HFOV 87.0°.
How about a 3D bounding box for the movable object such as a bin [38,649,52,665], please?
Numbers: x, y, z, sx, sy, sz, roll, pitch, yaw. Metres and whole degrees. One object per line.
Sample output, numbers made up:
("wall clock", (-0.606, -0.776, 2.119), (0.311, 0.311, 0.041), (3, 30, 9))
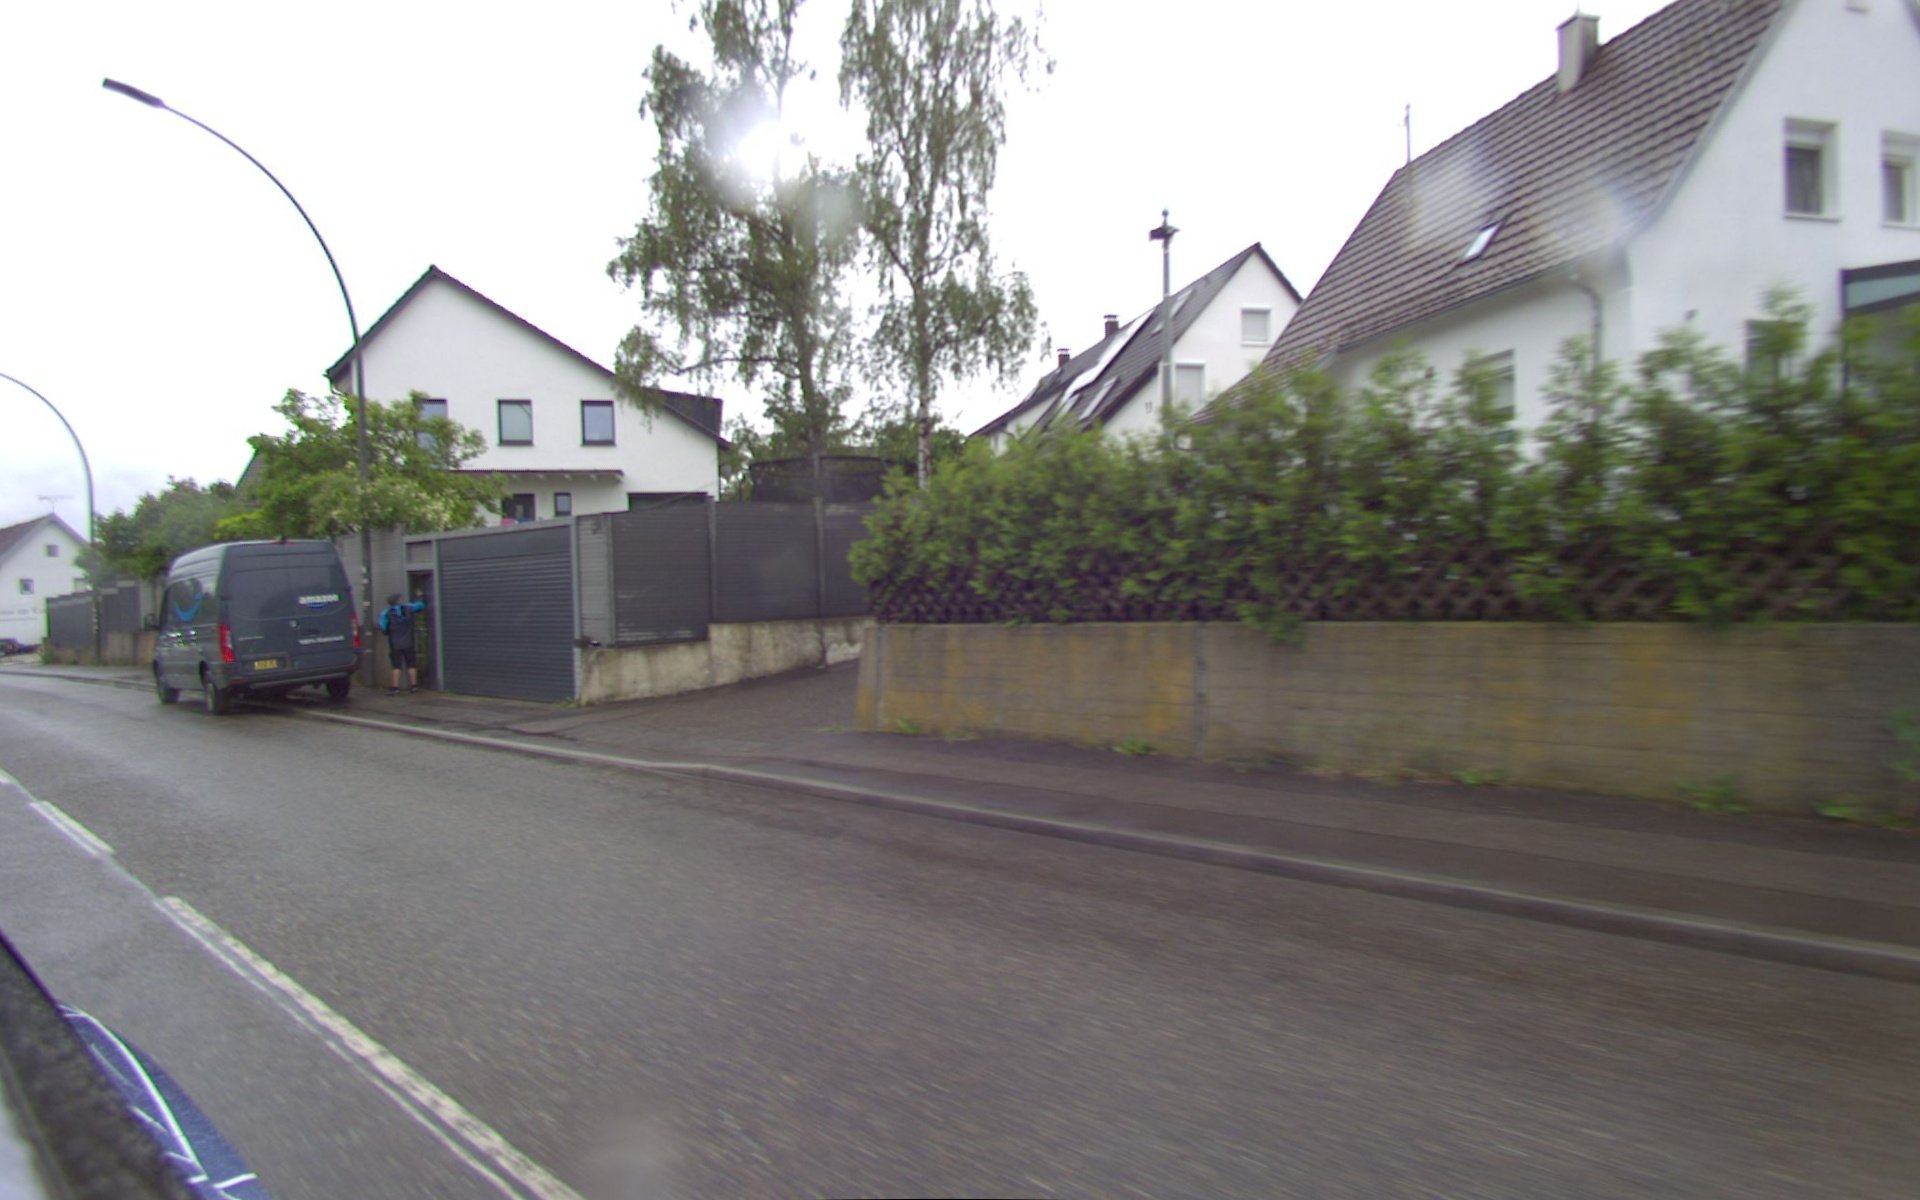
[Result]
("movable object such as a bin", (-61.534, 3.837, 68.042), (0.630, 1.040, 0.606), (0, -3, -38))

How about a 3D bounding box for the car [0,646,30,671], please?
("car", (-59.429, 3.657, 62.765), (1.876, 1.453, 3.838), (-4, -1, -33))

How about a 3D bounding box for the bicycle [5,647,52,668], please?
("bicycle", (-60.846, 3.745, 66.118), (2.070, 1.122, 0.739), (-6, 3, -35))

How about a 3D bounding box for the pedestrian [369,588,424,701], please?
("pedestrian", (-9.799, 0.759, 17.628), (0.669, 1.900, 0.812), (-1, 0, -18))

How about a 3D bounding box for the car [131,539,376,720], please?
("car", (-12.468, 0.474, 17.655), (5.916, 2.668, 2.072), (-2, 1, 42))

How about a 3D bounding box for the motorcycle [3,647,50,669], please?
("motorcycle", (-60.427, 3.733, 65.524), (2.083, 1.122, 0.782), (-6, 3, -35))
